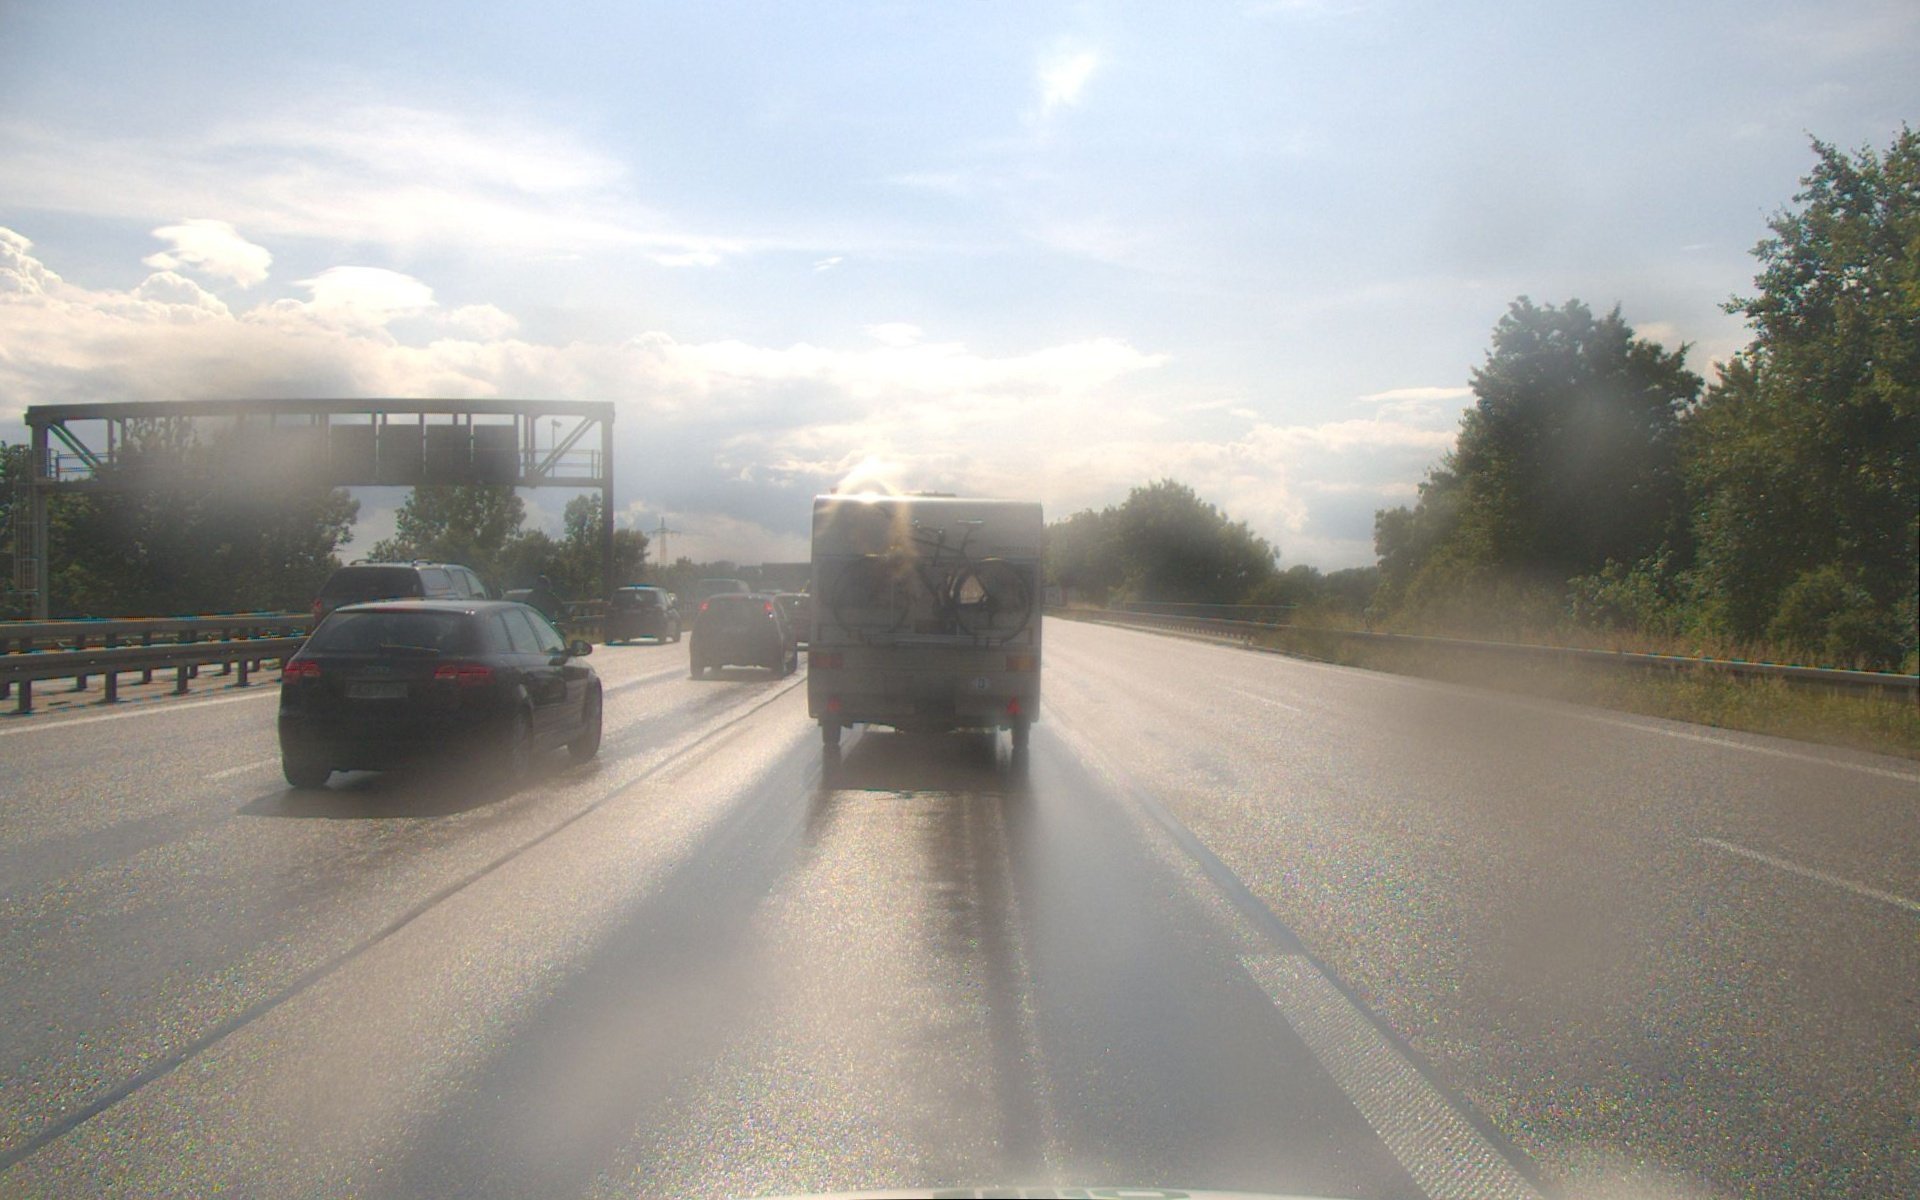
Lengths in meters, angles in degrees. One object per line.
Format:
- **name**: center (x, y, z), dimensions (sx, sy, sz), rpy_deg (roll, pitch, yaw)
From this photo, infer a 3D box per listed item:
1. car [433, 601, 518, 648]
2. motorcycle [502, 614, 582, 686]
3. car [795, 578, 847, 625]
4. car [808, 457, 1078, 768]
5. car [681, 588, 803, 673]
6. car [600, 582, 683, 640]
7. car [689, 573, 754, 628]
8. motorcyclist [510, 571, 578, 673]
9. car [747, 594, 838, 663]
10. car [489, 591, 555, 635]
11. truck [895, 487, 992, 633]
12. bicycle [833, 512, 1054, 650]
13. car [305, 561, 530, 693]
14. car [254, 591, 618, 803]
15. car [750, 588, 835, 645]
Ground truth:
- **car**: center (-16.057, 0.795, 54.992), dimensions (1.740, 1.467, 3.999), rpy_deg (0, 0, -1)
- **motorcycle**: center (-6.543, 0.762, 26.024), dimensions (0.676, 1.045, 2.388), rpy_deg (0, 0, -1)
- **car**: center (-5.092, 0.052, 61.049), dimensions (1.654, 1.691, 3.640), rpy_deg (0, 0, -1)
- **car**: center (-0.139, 0.112, 16.653), dimensions (2.361, 2.721, 4.000), rpy_deg (1, 0, 0)
- **car**: center (-3.997, 0.523, 30.877), dimensions (1.722, 1.468, 4.000), rpy_deg (1, 0, 0)
- **car**: center (-9.235, 0.286, 48.227), dimensions (1.747, 1.606, 3.915), rpy_deg (1, 0, -2)
- **car**: center (-8.971, 0.015, 62.608), dimensions (1.810, 1.967, 5.015), rpy_deg (1, 0, -1)
- **motorcyclist**: center (-6.532, 0.341, 26.015), dimensions (0.779, 1.564, 1.093), rpy_deg (0, 0, -1)
- **car**: center (-3.912, 0.641, 39.164), dimensions (1.825, 1.534, 3.999), rpy_deg (0, 0, -1)
- **car**: center (-20.916, 0.588, 79.150), dimensions (1.953, 2.049, 4.950), rpy_deg (0, 0, -1)
- **truck**: center (-0.664, -1.306, 58.780), dimensions (3.082, 4.707, 10.732), rpy_deg (0, 0, -1)
- **bicycle**: center (-0.138, -0.167, 14.450), dimensions (1.894, 1.161, 0.384), rpy_deg (1, 0, 1)
- **car**: center (-8.477, 0.376, 26.408), dimensions (1.769, 1.876, 5.418), rpy_deg (1, 0, 0)
- **car**: center (-4.053, 0.664, 13.502), dimensions (1.714, 1.458, 4.053), rpy_deg (1, 0, -1)
- **car**: center (-4.588, 0.422, 45.770), dimensions (1.947, 1.483, 3.826), rpy_deg (1, 0, 0)
